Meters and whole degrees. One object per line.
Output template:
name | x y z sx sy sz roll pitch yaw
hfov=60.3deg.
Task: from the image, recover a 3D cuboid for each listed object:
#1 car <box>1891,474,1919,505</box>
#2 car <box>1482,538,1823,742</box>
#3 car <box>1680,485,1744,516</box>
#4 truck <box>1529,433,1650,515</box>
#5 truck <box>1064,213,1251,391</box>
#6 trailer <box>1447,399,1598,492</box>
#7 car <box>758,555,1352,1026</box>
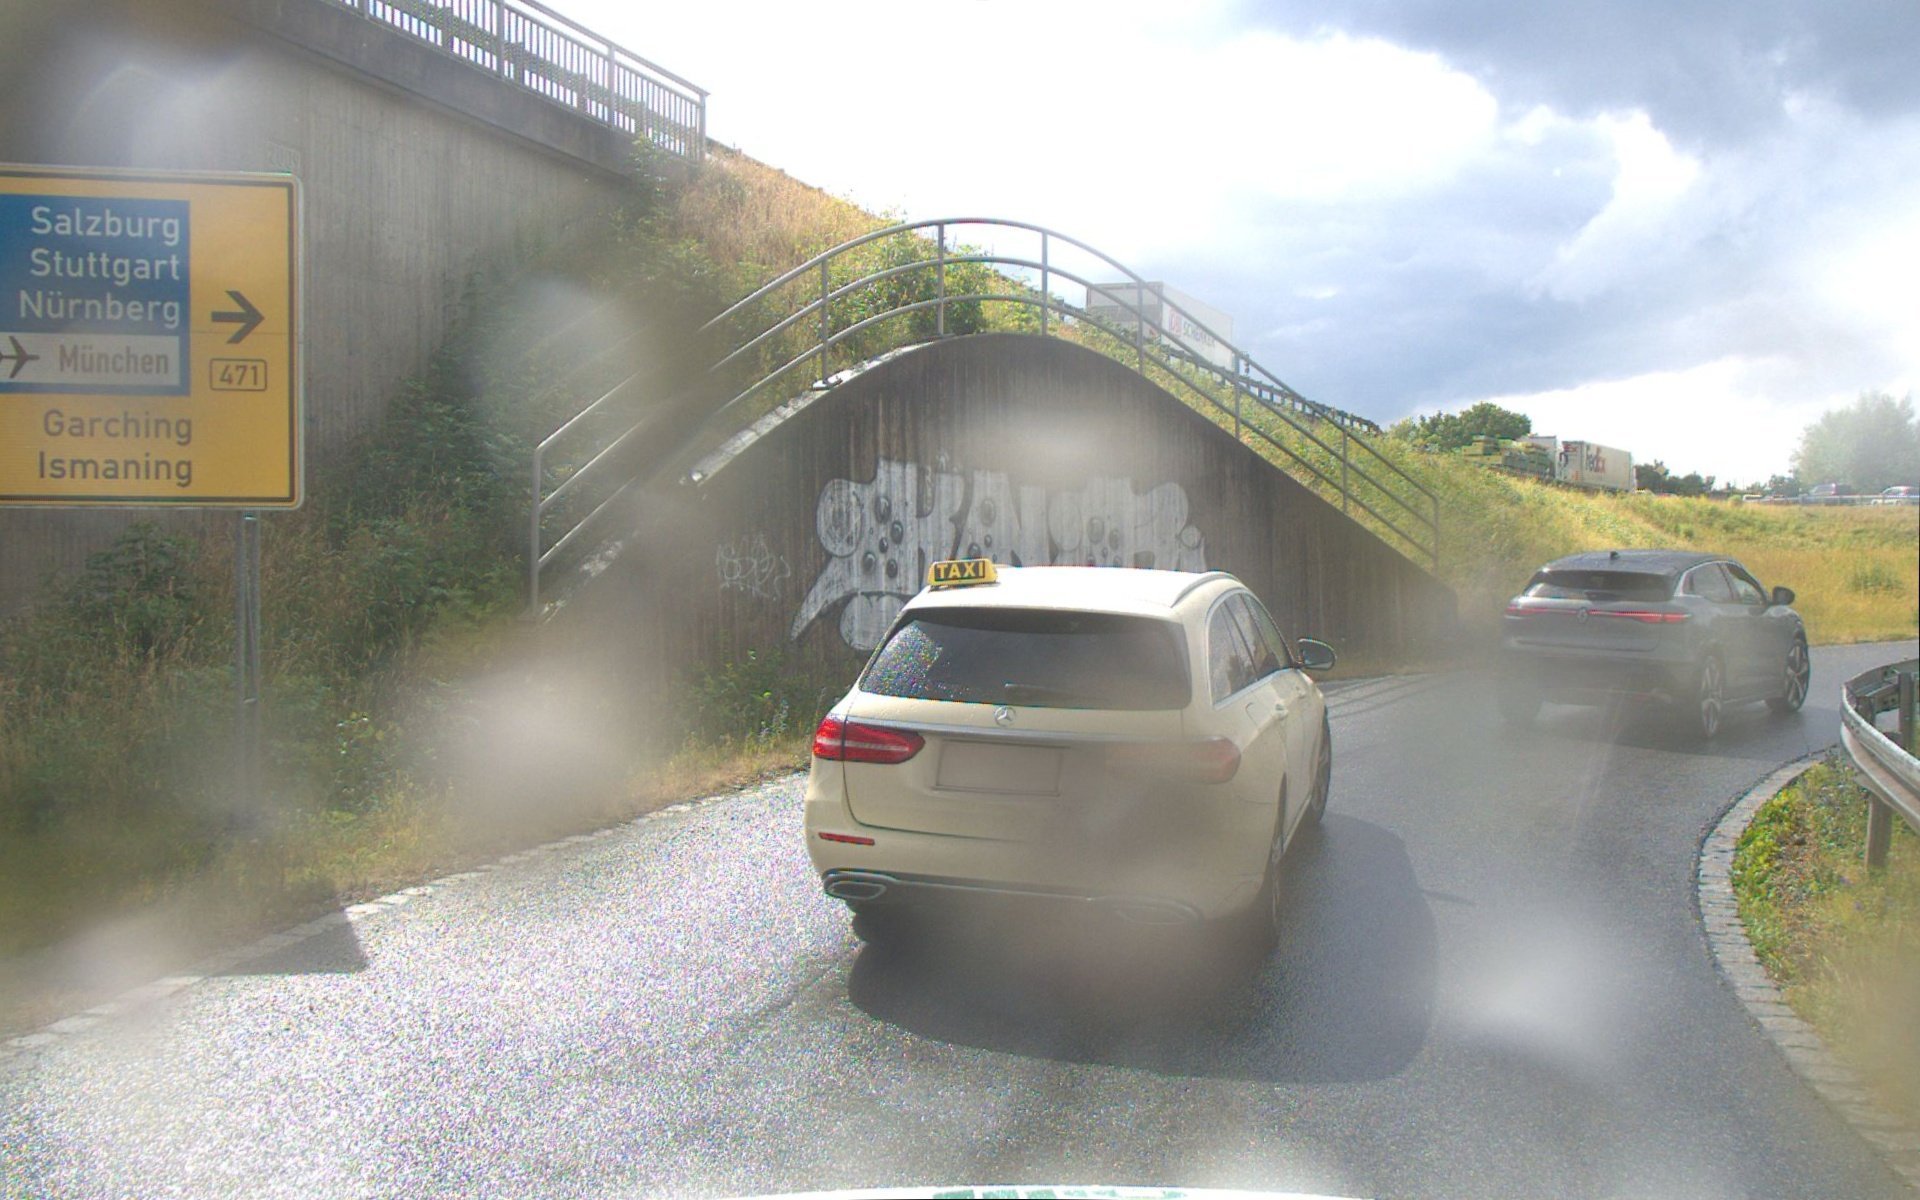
car | 63.178 -7.202 107.278 1.961 1.894 5.037 -1 1 -15
car | 6.351 0.237 14.939 1.692 1.551 3.979 3 4 40
car | 52.185 -6.905 114.817 3.910 2.049 1.824 1 0 28
truck | 45.976 -8.916 120.132 4.381 4.581 19.325 1 0 32
truck | 6.556 -9.341 53.233 3.118 4.035 9.229 1 0 25
trailer | 35.619 -9.442 103.789 4.334 4.024 20.164 1 0 32
car | 0.800 0.554 7.840 1.875 1.533 4.600 0 2 16
